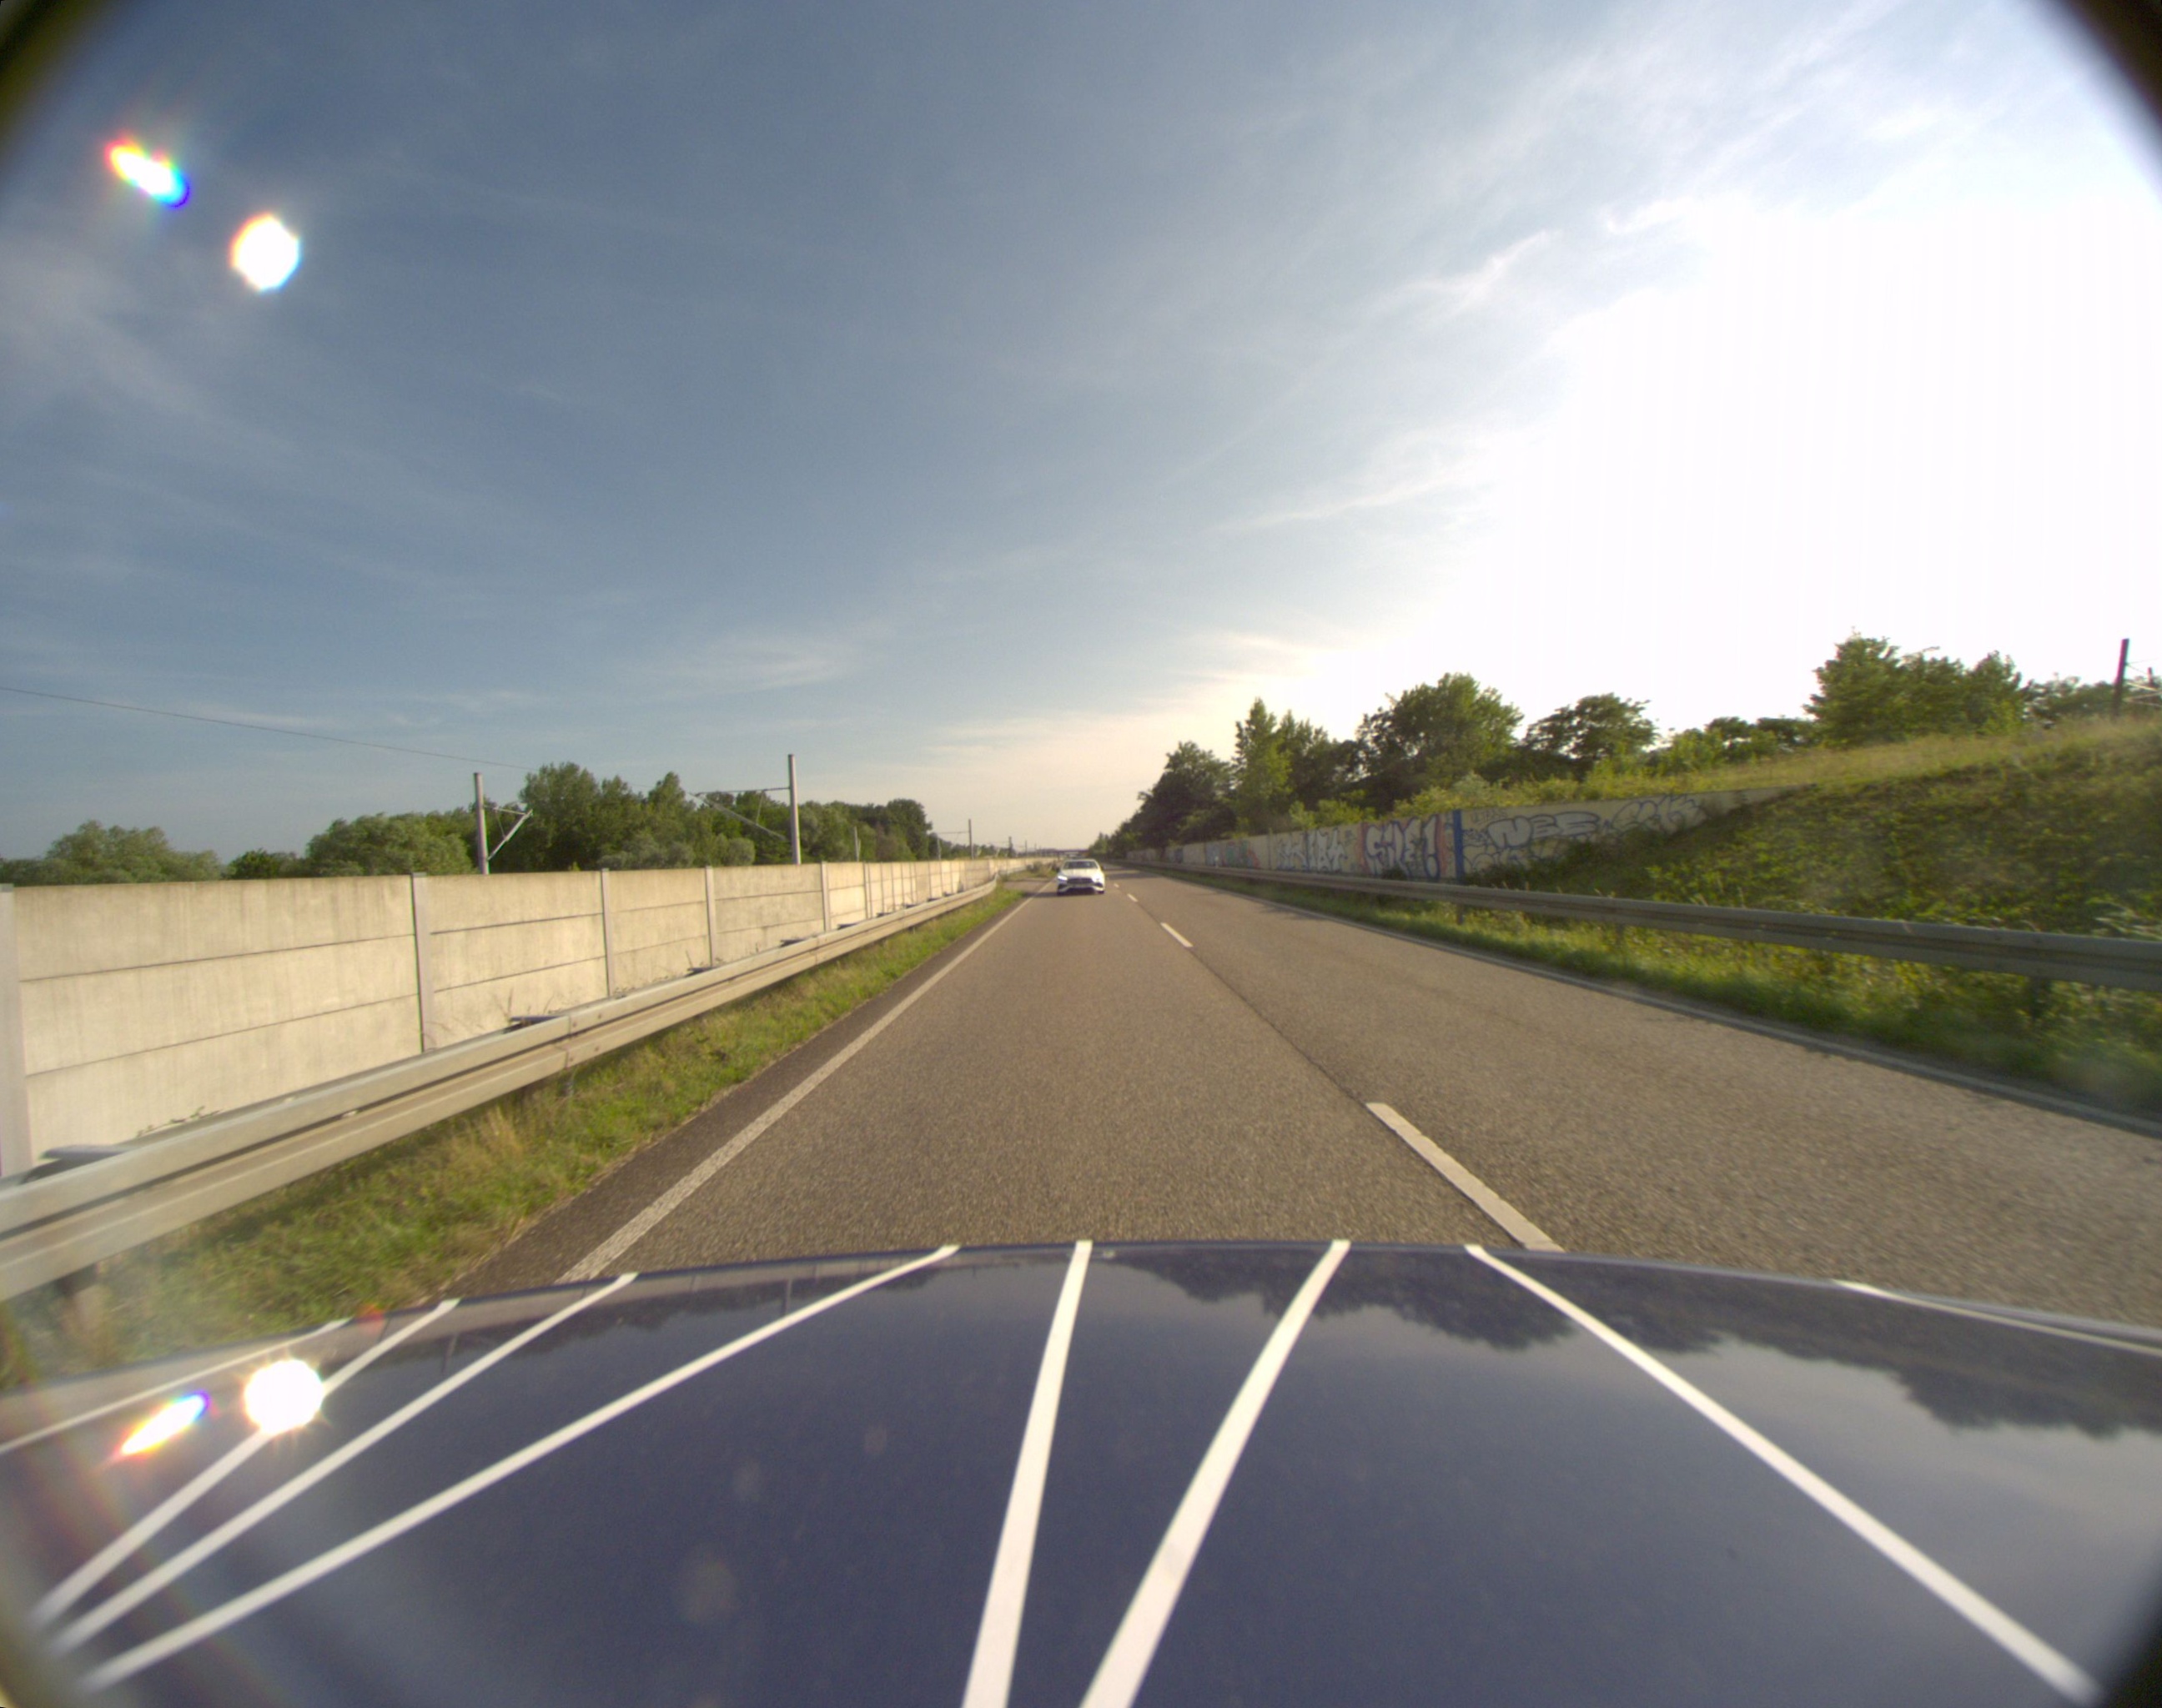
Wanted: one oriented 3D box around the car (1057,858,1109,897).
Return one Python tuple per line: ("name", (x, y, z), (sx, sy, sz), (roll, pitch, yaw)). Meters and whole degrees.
("car", (0.045, 0.894, 31.380), (1.953, 1.430, 4.611), (-2, 0, 0))
